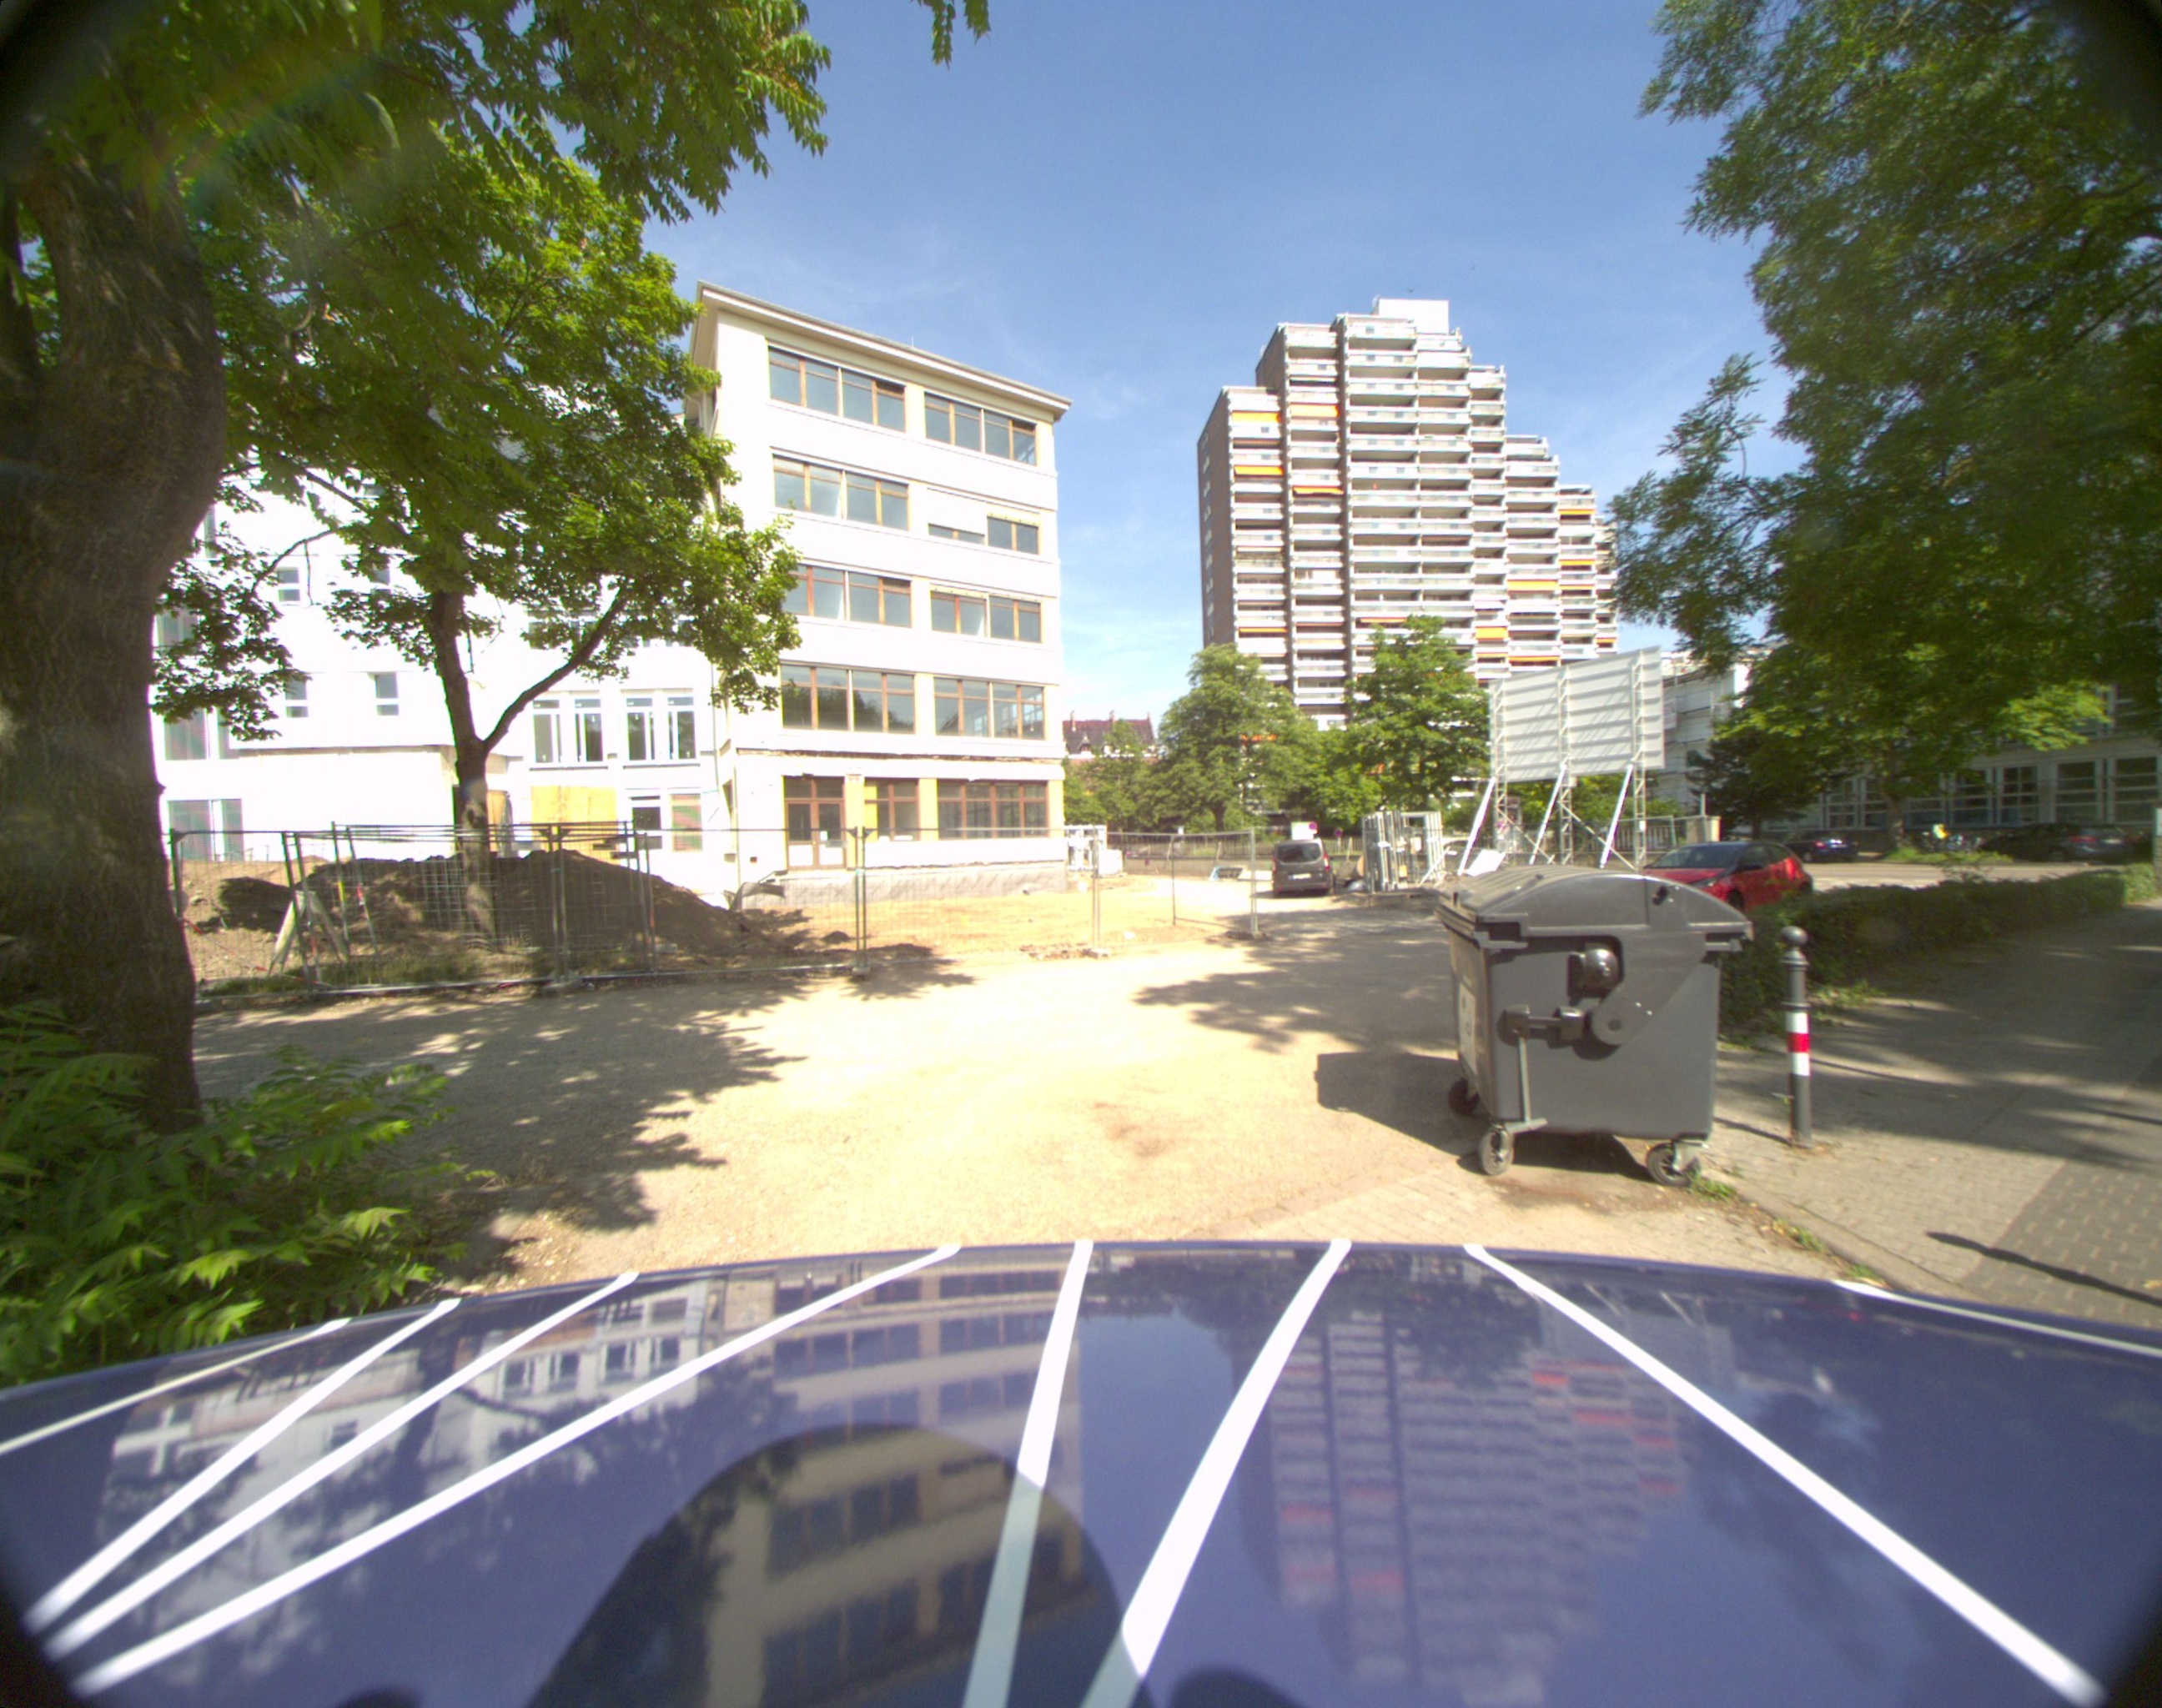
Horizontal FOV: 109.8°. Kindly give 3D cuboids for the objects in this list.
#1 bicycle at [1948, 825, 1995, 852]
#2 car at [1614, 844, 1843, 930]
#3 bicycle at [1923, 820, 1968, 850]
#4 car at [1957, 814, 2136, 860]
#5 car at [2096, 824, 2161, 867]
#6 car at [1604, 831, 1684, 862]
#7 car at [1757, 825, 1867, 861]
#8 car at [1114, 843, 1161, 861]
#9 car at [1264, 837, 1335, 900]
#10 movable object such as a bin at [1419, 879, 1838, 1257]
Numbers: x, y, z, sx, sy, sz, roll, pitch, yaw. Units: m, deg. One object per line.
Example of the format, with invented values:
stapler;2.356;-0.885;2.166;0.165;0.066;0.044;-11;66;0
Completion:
bicycle;40.817;-0.721;34.839;2.017;1.193;0.489;-2;1;-12
car;12.271;0.549;14.373;4.180;1.404;1.659;-1;0;-24
bicycle;40.797;-0.902;35.865;2.017;1.370;0.489;-2;1;-12
car;36.403;-0.609;28.864;1.805;1.556;4.394;-2;0;12
car;38.148;-0.305;25.948;1.799;1.467;4.188;-1;1;10
car;29.482;-0.452;39.951;1.840;1.402;4.150;-3;2;13
car;32.879;-0.493;34.325;1.651;1.443;4.003;-2;1;11
car;5.023;-0.172;67.964;1.946;1.513;4.380;-1;0;-31
car;7.162;0.394;24.665;1.918;1.770;4.317;-3;1;19
movable object such as a bin;2.484;0.868;3.759;1.246;1.389;1.405;-1;1;15
